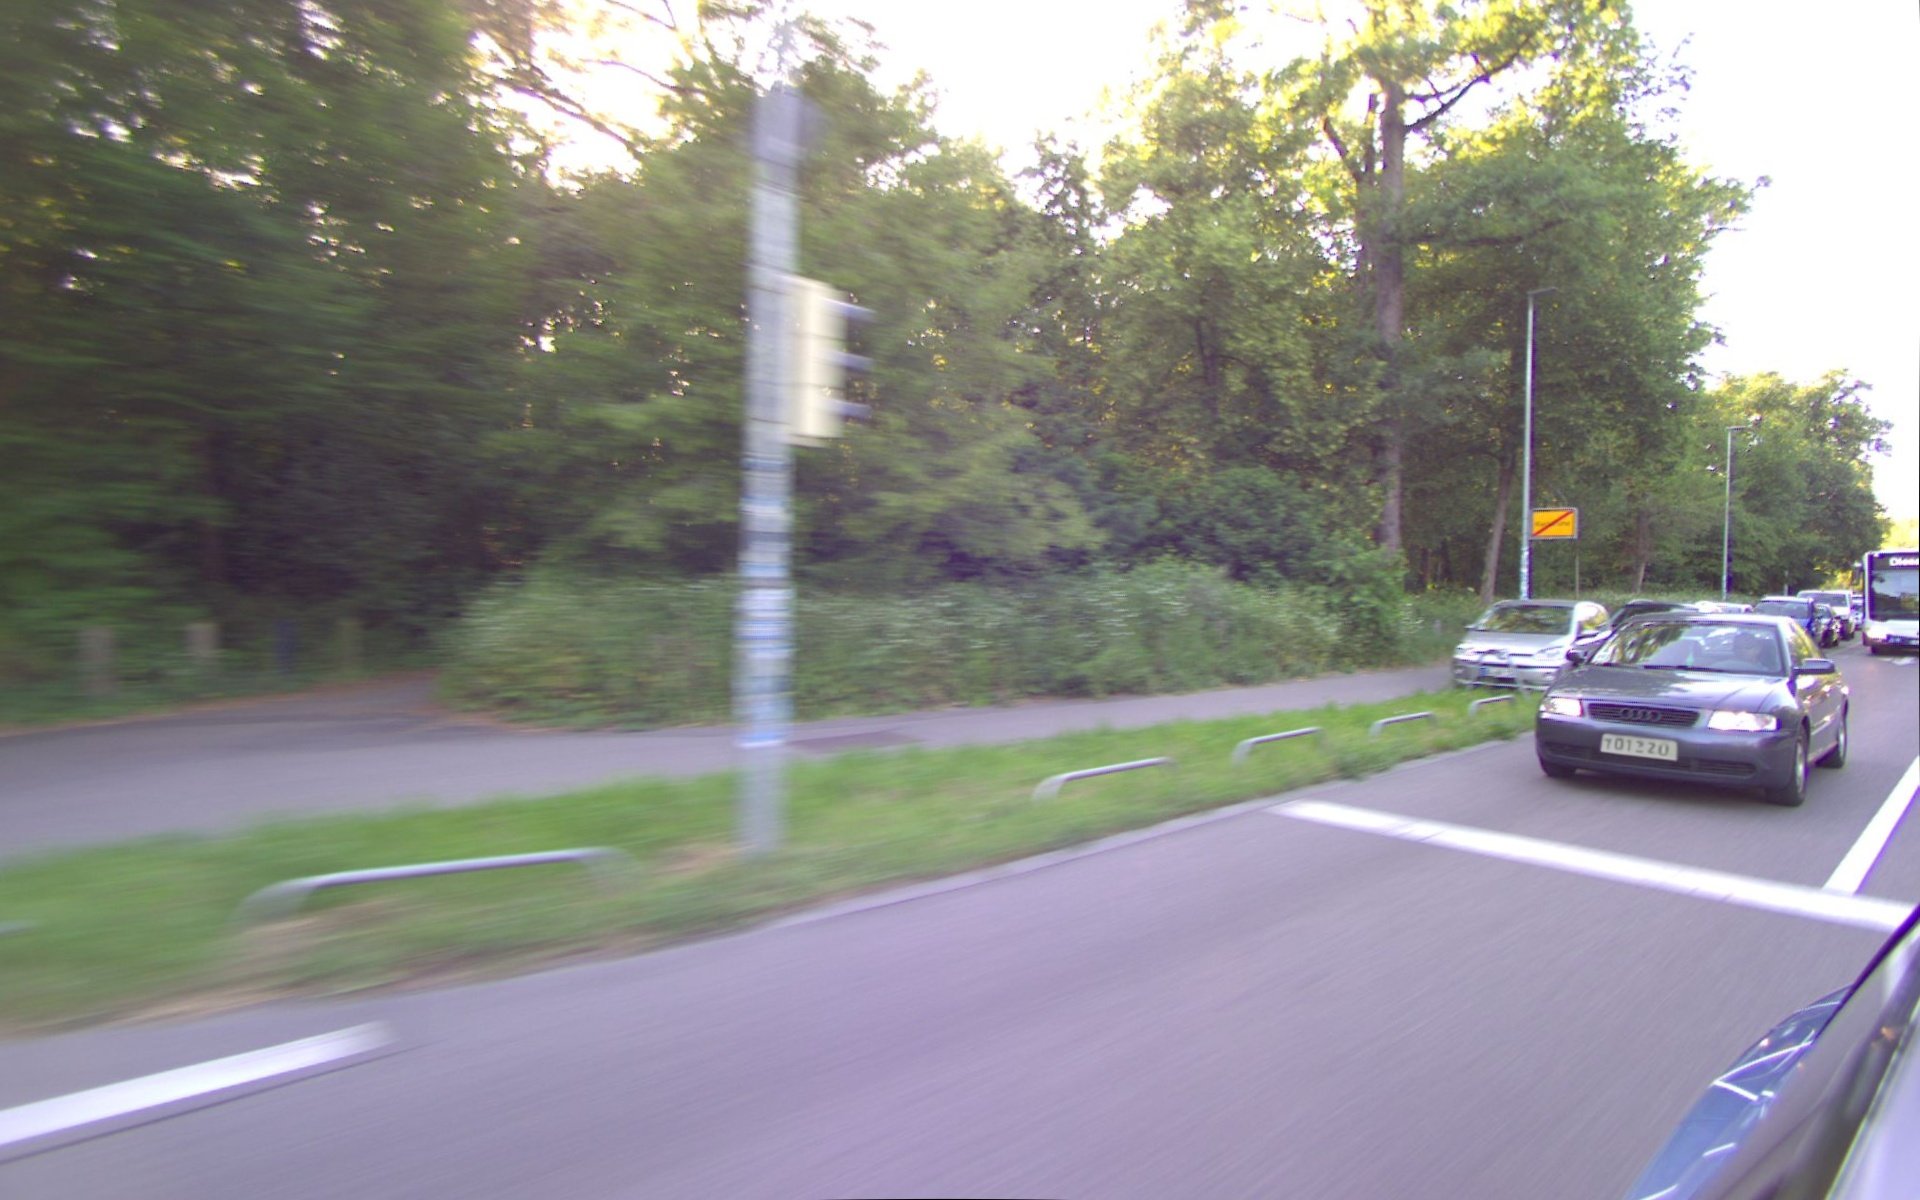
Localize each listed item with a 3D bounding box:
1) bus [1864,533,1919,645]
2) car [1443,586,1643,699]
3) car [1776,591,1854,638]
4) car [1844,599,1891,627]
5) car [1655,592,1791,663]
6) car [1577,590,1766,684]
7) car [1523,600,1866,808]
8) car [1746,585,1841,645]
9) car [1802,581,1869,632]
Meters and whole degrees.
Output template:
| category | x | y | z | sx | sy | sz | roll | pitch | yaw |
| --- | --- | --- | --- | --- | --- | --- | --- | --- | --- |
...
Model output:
| category | x | y | z | sx | sy | sz | roll | pitch | yaw |
| --- | --- | --- | --- | --- | --- | --- | --- | --- | --- |
| bus | 31.024 | -0.282 | 31.978 | 12.672 | 3.086 | 2.807 | 0 | 0 | -44 |
| car | 9.086 | 0.553 | 15.656 | 3.811 | 1.487 | 1.719 | -1 | 2 | -45 |
| car | 29.001 | 0.460 | 34.282 | 1.814 | 1.497 | 3.769 | 0 | 0 | 44 |
| car | 47.946 | 0.672 | 53.441 | 3.767 | 1.400 | 1.591 | -1 | 0 | -44 |
| car | 17.529 | 0.554 | 23.193 | 4.158 | 1.421 | 1.675 | 0 | 2 | -42 |
| car | 13.405 | 0.592 | 18.940 | 5.028 | 1.487 | 1.765 | 0 | 2 | -42 |
| car | 6.438 | 0.692 | 8.702 | 3.927 | 1.376 | 1.676 | 0 | 0 | -43 |
| car | 25.204 | 0.393 | 30.561 | 3.767 | 1.654 | 1.816 | -1 | 2 | -45 |
| car | 35.561 | 0.216 | 41.051 | 1.814 | 1.945 | 5.184 | 0 | 0 | 44 |
